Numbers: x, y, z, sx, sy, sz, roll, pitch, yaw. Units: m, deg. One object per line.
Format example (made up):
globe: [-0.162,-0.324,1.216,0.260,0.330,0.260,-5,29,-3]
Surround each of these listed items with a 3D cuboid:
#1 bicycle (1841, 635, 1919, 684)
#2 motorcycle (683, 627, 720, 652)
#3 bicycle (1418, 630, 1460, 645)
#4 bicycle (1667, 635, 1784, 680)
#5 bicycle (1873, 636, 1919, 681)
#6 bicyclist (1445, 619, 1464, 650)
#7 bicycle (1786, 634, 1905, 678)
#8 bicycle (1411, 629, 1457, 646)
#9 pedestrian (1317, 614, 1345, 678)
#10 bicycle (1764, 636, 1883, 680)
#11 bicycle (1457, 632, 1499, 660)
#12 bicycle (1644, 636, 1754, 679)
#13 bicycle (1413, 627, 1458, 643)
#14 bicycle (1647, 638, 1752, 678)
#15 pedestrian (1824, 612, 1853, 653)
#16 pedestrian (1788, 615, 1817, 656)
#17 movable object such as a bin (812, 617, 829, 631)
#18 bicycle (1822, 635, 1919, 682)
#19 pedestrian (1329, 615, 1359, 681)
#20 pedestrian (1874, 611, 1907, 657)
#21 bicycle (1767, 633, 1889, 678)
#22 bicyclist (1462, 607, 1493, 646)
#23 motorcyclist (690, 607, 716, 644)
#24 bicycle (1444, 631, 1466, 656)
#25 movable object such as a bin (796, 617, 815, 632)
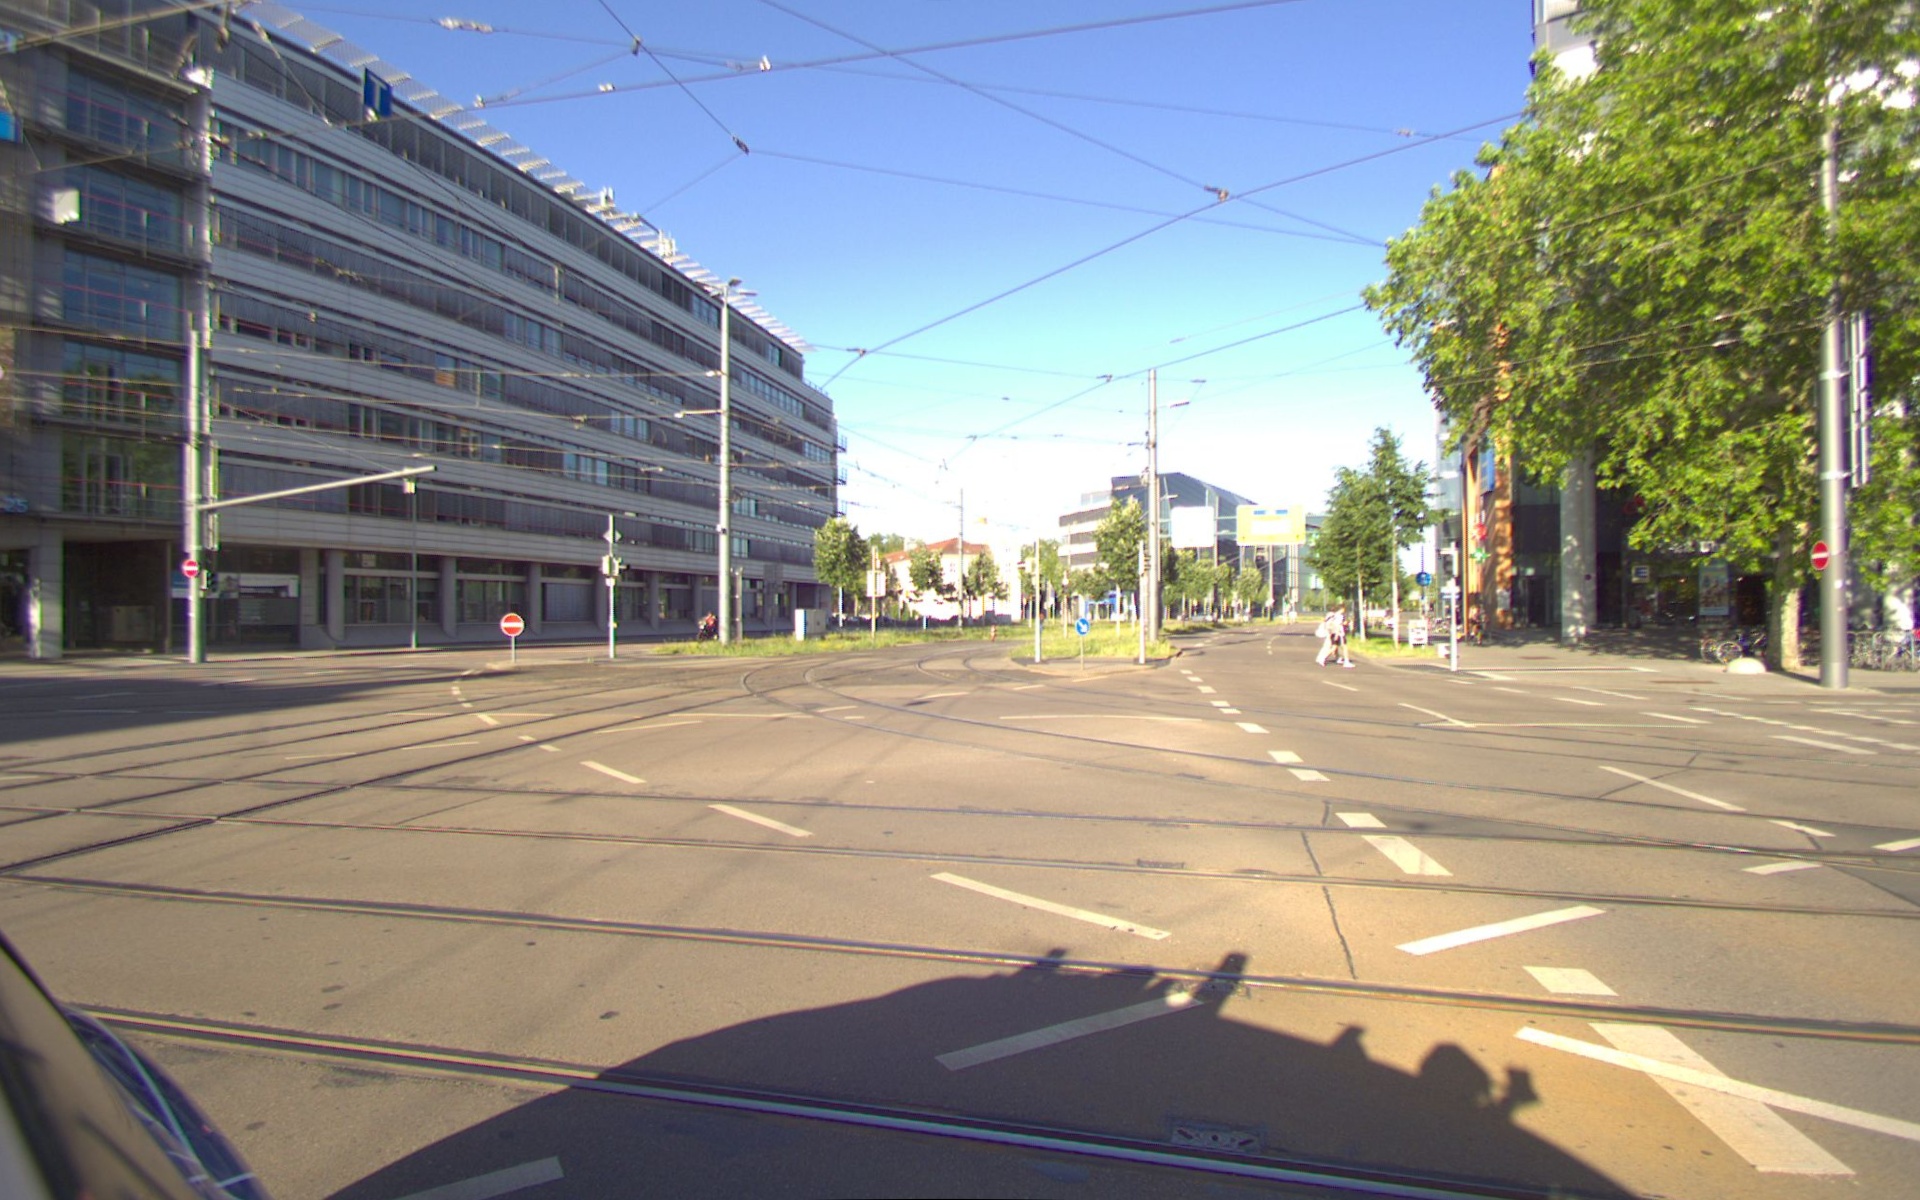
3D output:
bicycle: [22.542,1.412,24.040,2.347,1.137,0.595,0,-2,18]
motorcycle: [-13.404,2.050,52.560,0.814,1.230,2.244,0,-1,16]
bicycle: [34.483,2.692,72.894,2.680,1.112,0.887,-1,-2,30]
bicycle: [20.032,1.499,26.521,2.348,1.137,0.595,0,-2,19]
bicycle: [25.124,1.503,26.052,2.347,1.137,0.595,0,-2,18]
bicyclist: [23.776,1.658,48.675,0.688,1.472,0.749,-1,-1,18]
bicycle: [24.051,1.505,27.523,2.347,1.137,0.595,0,-2,18]
bicycle: [31.221,2.480,66.719,2.680,1.112,0.887,-1,-2,30]
pedestrian: [11.169,1.371,30.485,0.727,1.884,0.695,-1,-1,18]
bicycle: [23.123,1.546,27.139,2.347,1.137,0.595,0,-2,18]
bicycle: [20.896,1.840,40.871,0.887,1.112,2.680,0,-2,13]
bicycle: [20.388,1.569,27.954,2.348,1.137,0.595,0,-2,19]
bicycle: [31.756,2.330,67.601,2.680,1.112,0.887,-1,-2,30]
bicycle: [21.324,1.663,29.237,2.348,1.137,0.595,0,-2,19]
pedestrian: [35.979,1.336,41.462,0.702,1.665,0.692,-1,-1,27]
pedestrian: [34.443,1.447,41.392,0.694,1.665,0.700,-1,-1,23]
movable object such as a bin: [-13.068,2.278,94.934,1.165,1.311,1.320,-1,-1,19]
bicycle: [23.120,1.453,25.261,2.347,1.137,0.595,0,-2,18]
pedestrian: [11.214,1.387,29.569,0.727,1.884,0.670,0,-1,16]
pedestrian: [34.621,1.262,37.661,0.686,1.665,0.708,0,-1,-30]
bicycle: [22.757,1.444,26.565,2.347,1.137,0.595,0,-2,18]
bicyclist: [20.897,1.064,40.889,0.887,1.560,0.935,0,-2,14]
motorcyclist: [-13.372,1.329,52.671,0.814,1.871,1.106,0,-1,16]
bicycle: [23.786,2.102,48.673,0.688,1.145,1.840,-1,-1,18]
movable object such as a bin: [-13.812,2.197,90.484,1.318,1.311,1.167,-1,-1,19]
